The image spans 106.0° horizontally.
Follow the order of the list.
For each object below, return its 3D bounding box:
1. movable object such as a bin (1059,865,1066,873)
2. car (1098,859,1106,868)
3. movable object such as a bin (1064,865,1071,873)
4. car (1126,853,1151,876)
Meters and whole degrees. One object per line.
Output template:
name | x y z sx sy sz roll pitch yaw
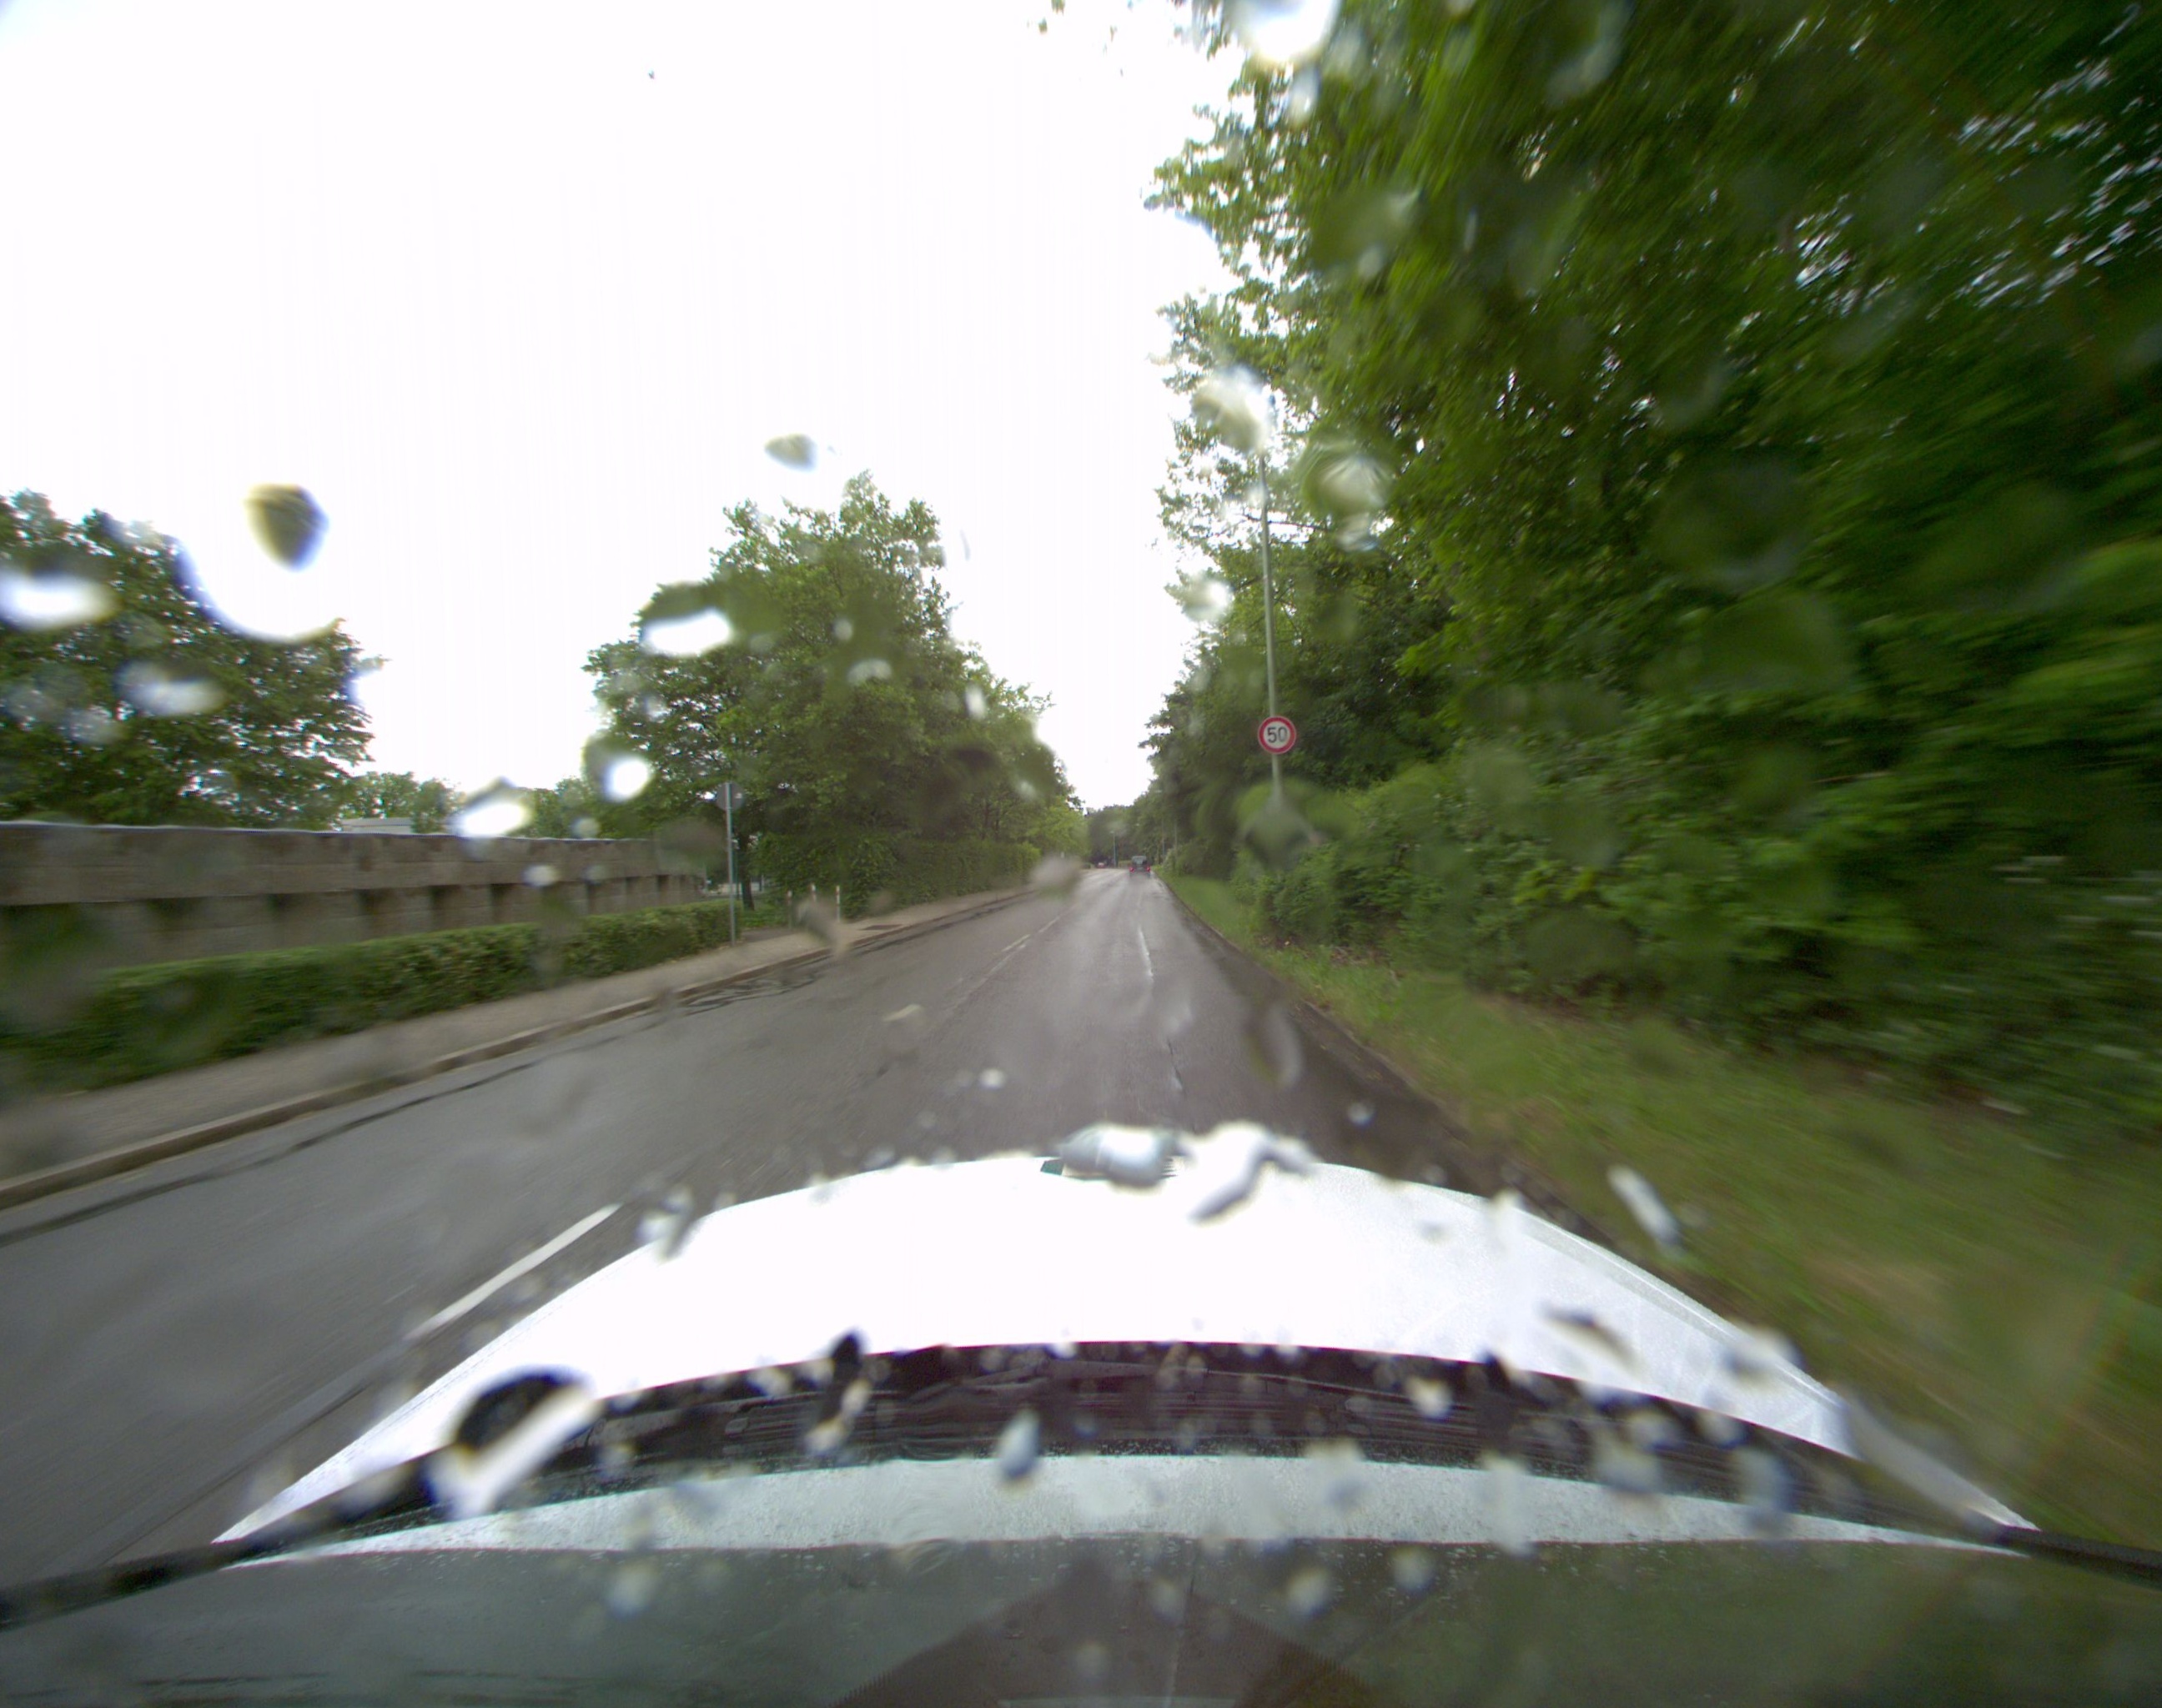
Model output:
movable object such as a bin | -2.708 2.200 119.211 0.670 1.026 0.827 -3 -1 -27
car | 4.957 2.148 192.419 1.985 2.014 4.002 1 0 2
movable object such as a bin | -2.014 2.185 119.619 0.670 1.026 0.827 -3 -1 -27
car | 4.937 0.860 68.997 1.984 1.793 4.007 0 1 6
